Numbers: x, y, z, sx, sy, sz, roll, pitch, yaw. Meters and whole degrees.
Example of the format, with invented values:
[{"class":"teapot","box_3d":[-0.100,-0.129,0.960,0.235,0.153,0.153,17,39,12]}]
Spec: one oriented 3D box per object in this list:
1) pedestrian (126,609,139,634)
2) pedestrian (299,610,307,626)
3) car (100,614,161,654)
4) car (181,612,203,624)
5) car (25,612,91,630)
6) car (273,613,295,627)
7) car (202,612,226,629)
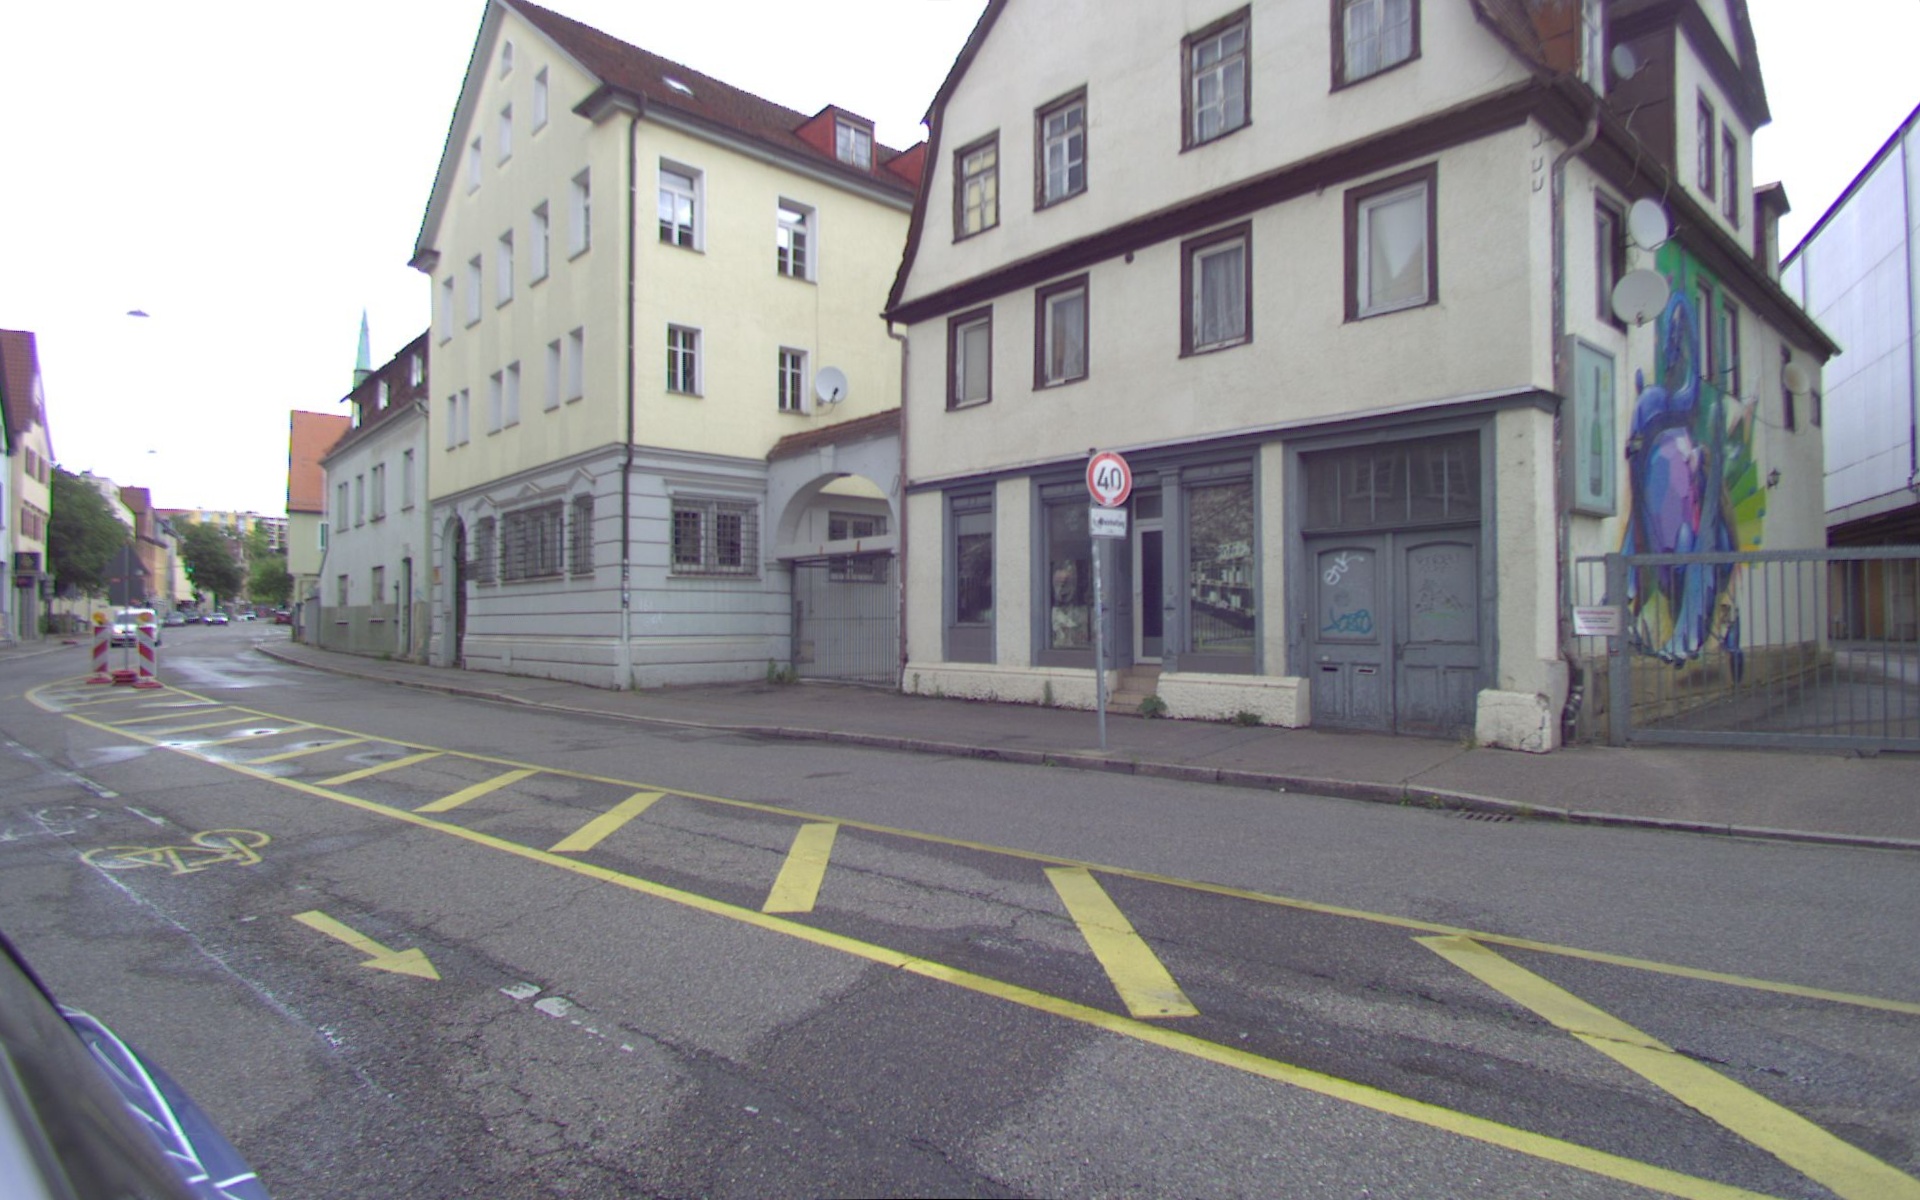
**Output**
[{"class":"pedestrian","box_3d":[-78.631,2.075,96.130,0.888,2.328,0.822,1,-2,-36]},{"class":"pedestrian","box_3d":[-86.005,2.353,132.408,0.823,2.029,0.847,1,-2,-36]},{"class":"car","box_3d":[-39.606,1.601,48.425,1.967,1.800,4.478,2,-1,-36]},{"class":"car","box_3d":[-96.405,2.261,127.038,1.792,1.399,4.011,2,-2,-32]},{"class":"car","box_3d":[-77.244,1.800,86.727,3.932,1.475,2.006,0,0,-33]},{"class":"car","box_3d":[-85.692,2.552,128.258,2.178,1.690,4.509,2,-2,-36]},{"class":"car","box_3d":[-82.241,2.243,111.579,1.967,1.691,4.010,0,0,-34]}]
